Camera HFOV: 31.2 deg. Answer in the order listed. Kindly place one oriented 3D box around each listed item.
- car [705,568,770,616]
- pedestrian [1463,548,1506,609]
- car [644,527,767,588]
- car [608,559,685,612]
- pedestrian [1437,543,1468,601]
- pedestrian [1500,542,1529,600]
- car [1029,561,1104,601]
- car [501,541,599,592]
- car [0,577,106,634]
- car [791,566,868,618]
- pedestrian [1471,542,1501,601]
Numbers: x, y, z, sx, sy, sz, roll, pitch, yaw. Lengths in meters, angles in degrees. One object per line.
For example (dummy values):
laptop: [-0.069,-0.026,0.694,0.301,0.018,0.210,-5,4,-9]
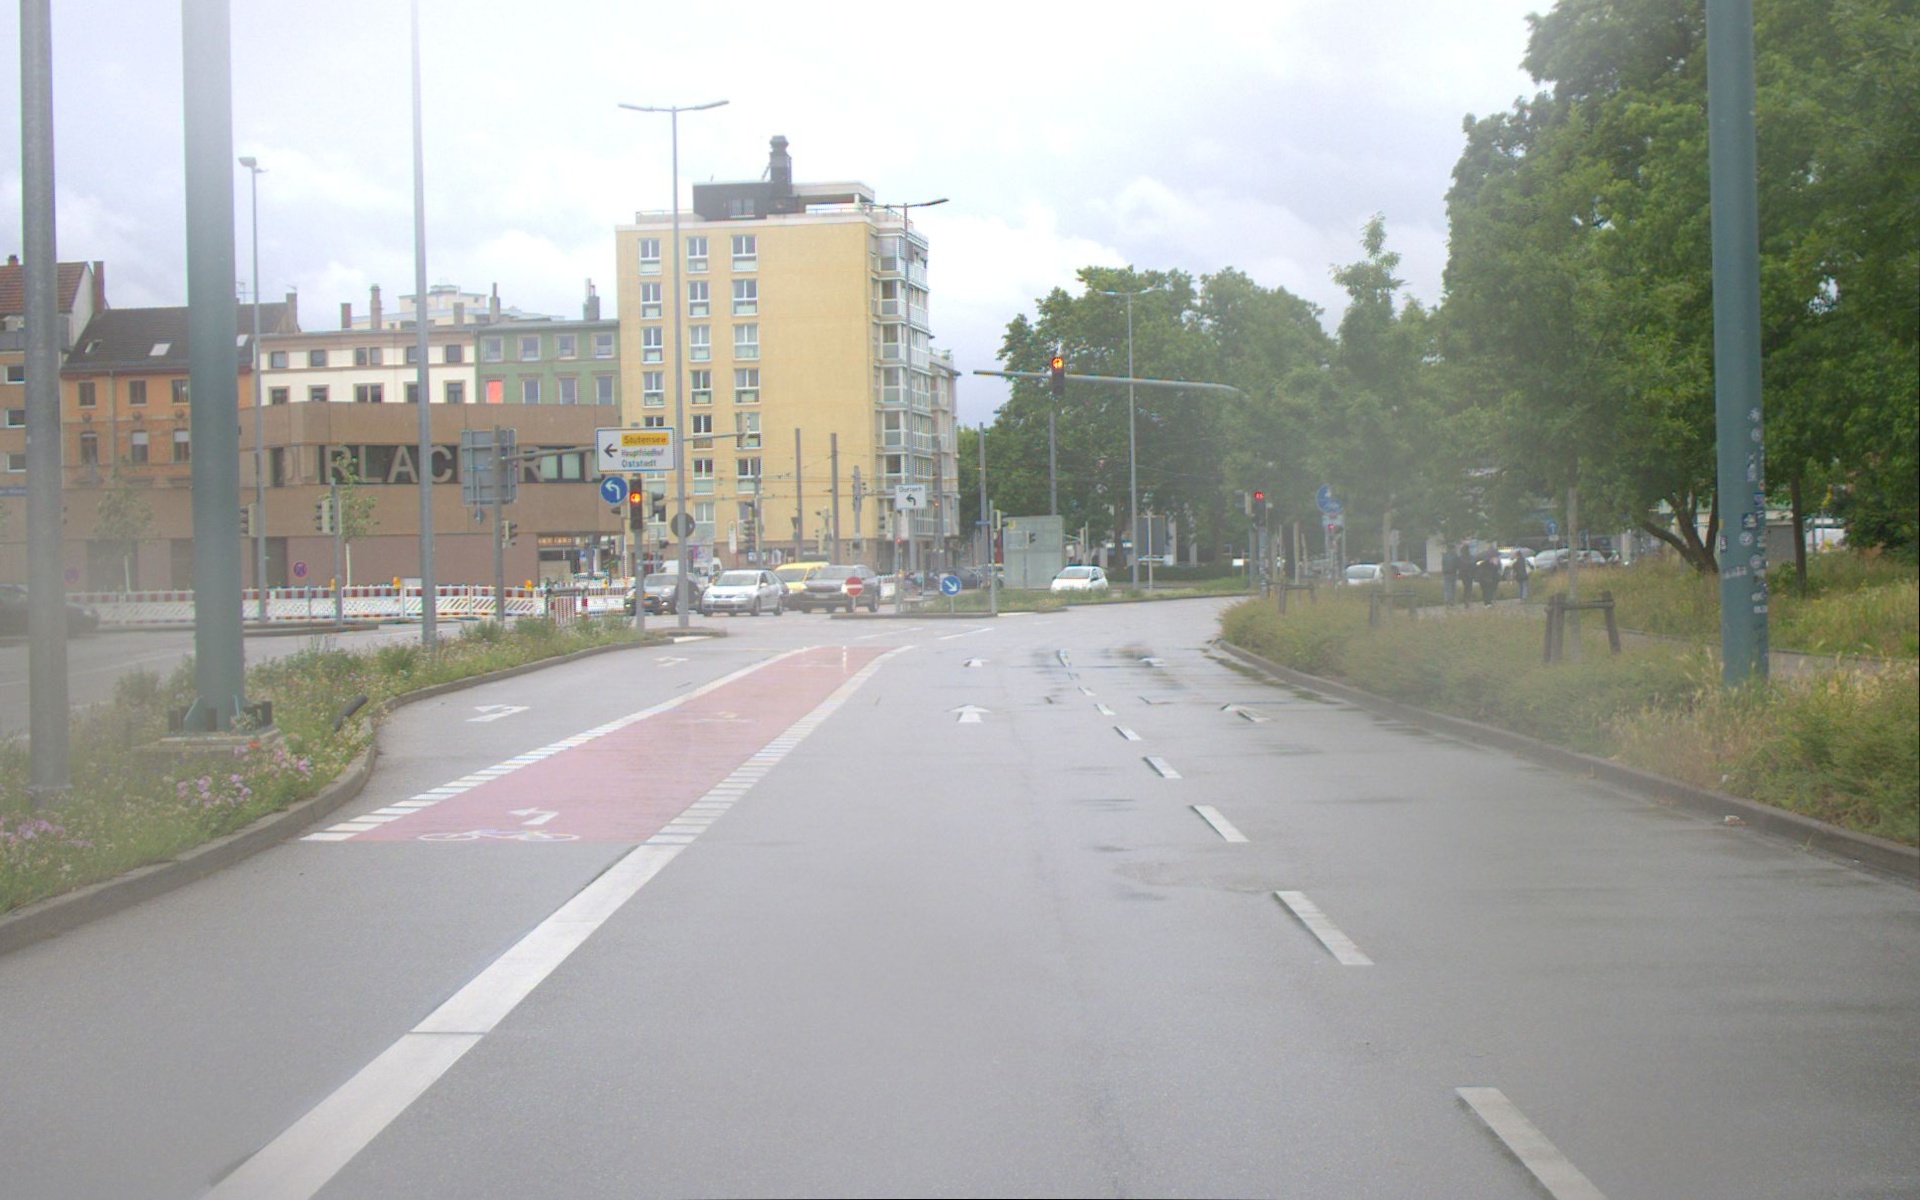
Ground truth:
car: [-7.010,-0.273,108.531,1.679,1.399,4.158,-2,1,1]
pedestrian: [13.704,-0.563,89.812,1.023,1.582,0.936,-1,1,13]
car: [-15.026,-2.520,203.179,6.742,3.368,2.809,-1,1,5]
car: [-10.385,-0.495,114.115,1.706,1.700,3.819,-1,1,8]
pedestrian: [13.555,-0.771,94.643,0.754,1.582,0.936,-1,1,13]
pedestrian: [15.170,-0.799,94.014,0.703,1.582,0.936,-1,1,13]
car: [4.335,-0.783,139.455,1.681,1.496,3.864,-2,1,23]
car: [-24.353,-2.021,204.322,5.351,2.877,2.338,-1,1,5]
car: [-24.361,0.148,88.894,4.191,1.397,1.618,-1,1,-4]
car: [-4.480,-0.301,118.954,1.994,1.630,4.602,-3,1,5]
pedestrian: [14.421,-0.787,94.227,0.703,1.582,0.936,-1,1,13]
